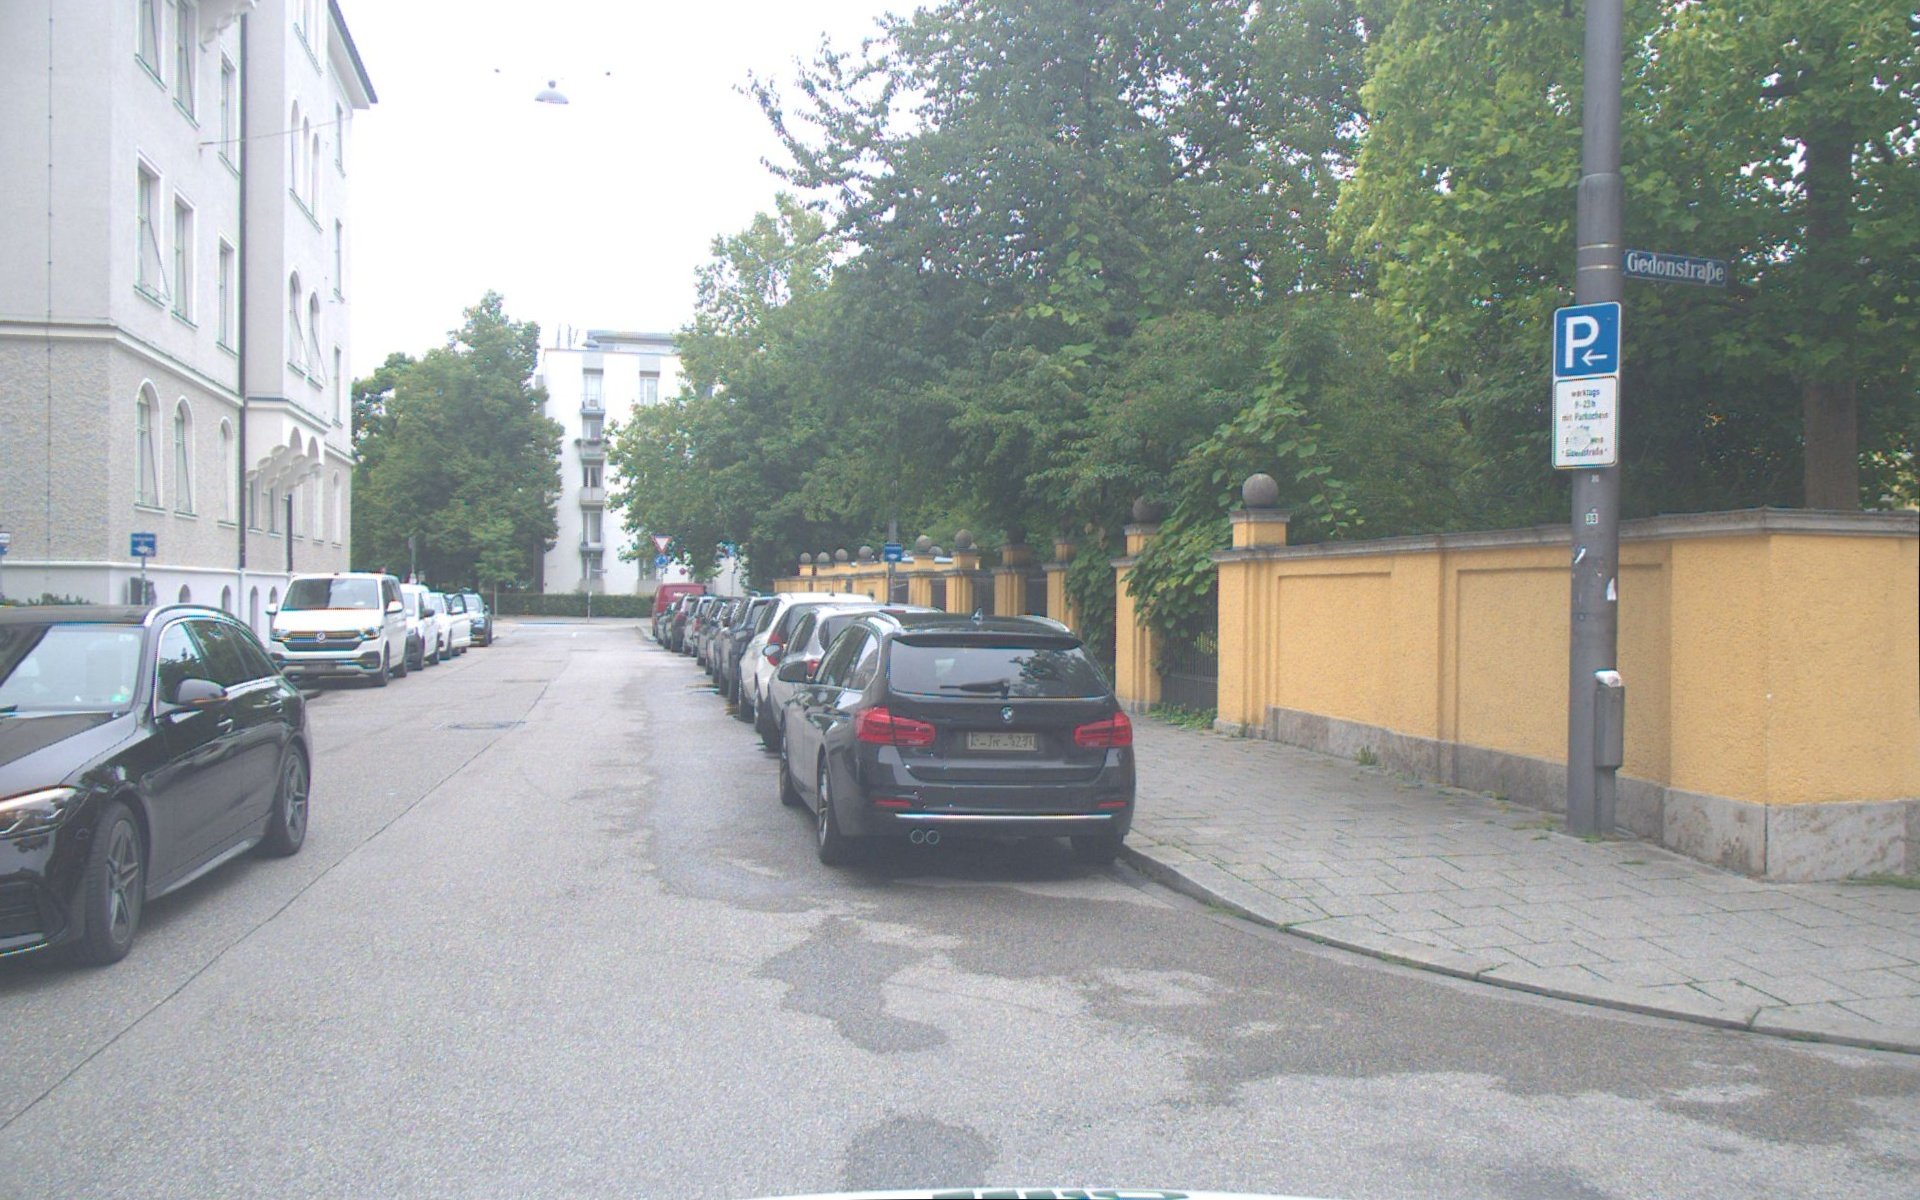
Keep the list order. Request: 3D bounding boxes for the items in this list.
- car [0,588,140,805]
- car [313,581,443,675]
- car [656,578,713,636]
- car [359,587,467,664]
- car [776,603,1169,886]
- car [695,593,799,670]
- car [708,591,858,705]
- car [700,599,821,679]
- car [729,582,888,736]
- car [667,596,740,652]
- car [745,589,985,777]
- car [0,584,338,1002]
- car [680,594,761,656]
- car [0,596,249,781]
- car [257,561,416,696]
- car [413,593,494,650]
[{"bbox_3d":[-7.487,0.685,11.651,1.803,1.463,4.266,-2,1,-9],"label":"car"},{"bbox_3d":[-12.485,0.545,35.723,1.979,1.802,4.401,-2,1,-11],"label":"car"},{"bbox_3d":[-9.962,0.224,60.075,1.802,1.960,3.998,3,0,-7],"label":"car"},{"bbox_3d":[-13.622,0.587,41.401,1.979,1.756,4.262,-2,1,-11],"label":"car"},{"bbox_3d":[-0.152,0.776,10.726,1.805,1.438,4.332,2,-1,-10],"label":"car"},{"bbox_3d":[-4.648,0.656,35.712,1.807,1.545,3.934,2,-1,-13],"label":"car"},{"bbox_3d":[-2.793,0.702,25.410,1.807,1.578,3.934,2,-1,-13],"label":"car"},{"bbox_3d":[-3.780,0.697,30.878,1.807,1.369,3.934,2,-1,-13],"label":"car"},{"bbox_3d":[-1.937,0.675,20.304,1.487,1.690,3.663,2,-1,-12],"label":"car"},{"bbox_3d":[-7.546,0.686,48.394,1.807,1.545,3.934,2,-1,-13],"label":"car"},{"bbox_3d":[-1.021,0.714,15.674,1.624,1.545,3.782,2,-1,-13],"label":"car"},{"bbox_3d":[-4.408,0.664,7.824,1.839,1.453,4.400,-1,1,-9],"label":"car"},{"bbox_3d":[-6.469,0.643,44.352,1.807,1.545,3.934,2,-1,-13],"label":"car"},{"bbox_3d":[-8.524,0.773,16.348,1.804,1.525,4.263,-2,1,-11],"label":"car"},{"bbox_3d":[-11.088,0.446,29.726,1.853,2.164,4.693,-2,1,-11],"label":"car"},{"bbox_3d":[-16.112,0.648,52.836,1.979,1.662,4.401,-2,1,-11],"label":"car"}]
